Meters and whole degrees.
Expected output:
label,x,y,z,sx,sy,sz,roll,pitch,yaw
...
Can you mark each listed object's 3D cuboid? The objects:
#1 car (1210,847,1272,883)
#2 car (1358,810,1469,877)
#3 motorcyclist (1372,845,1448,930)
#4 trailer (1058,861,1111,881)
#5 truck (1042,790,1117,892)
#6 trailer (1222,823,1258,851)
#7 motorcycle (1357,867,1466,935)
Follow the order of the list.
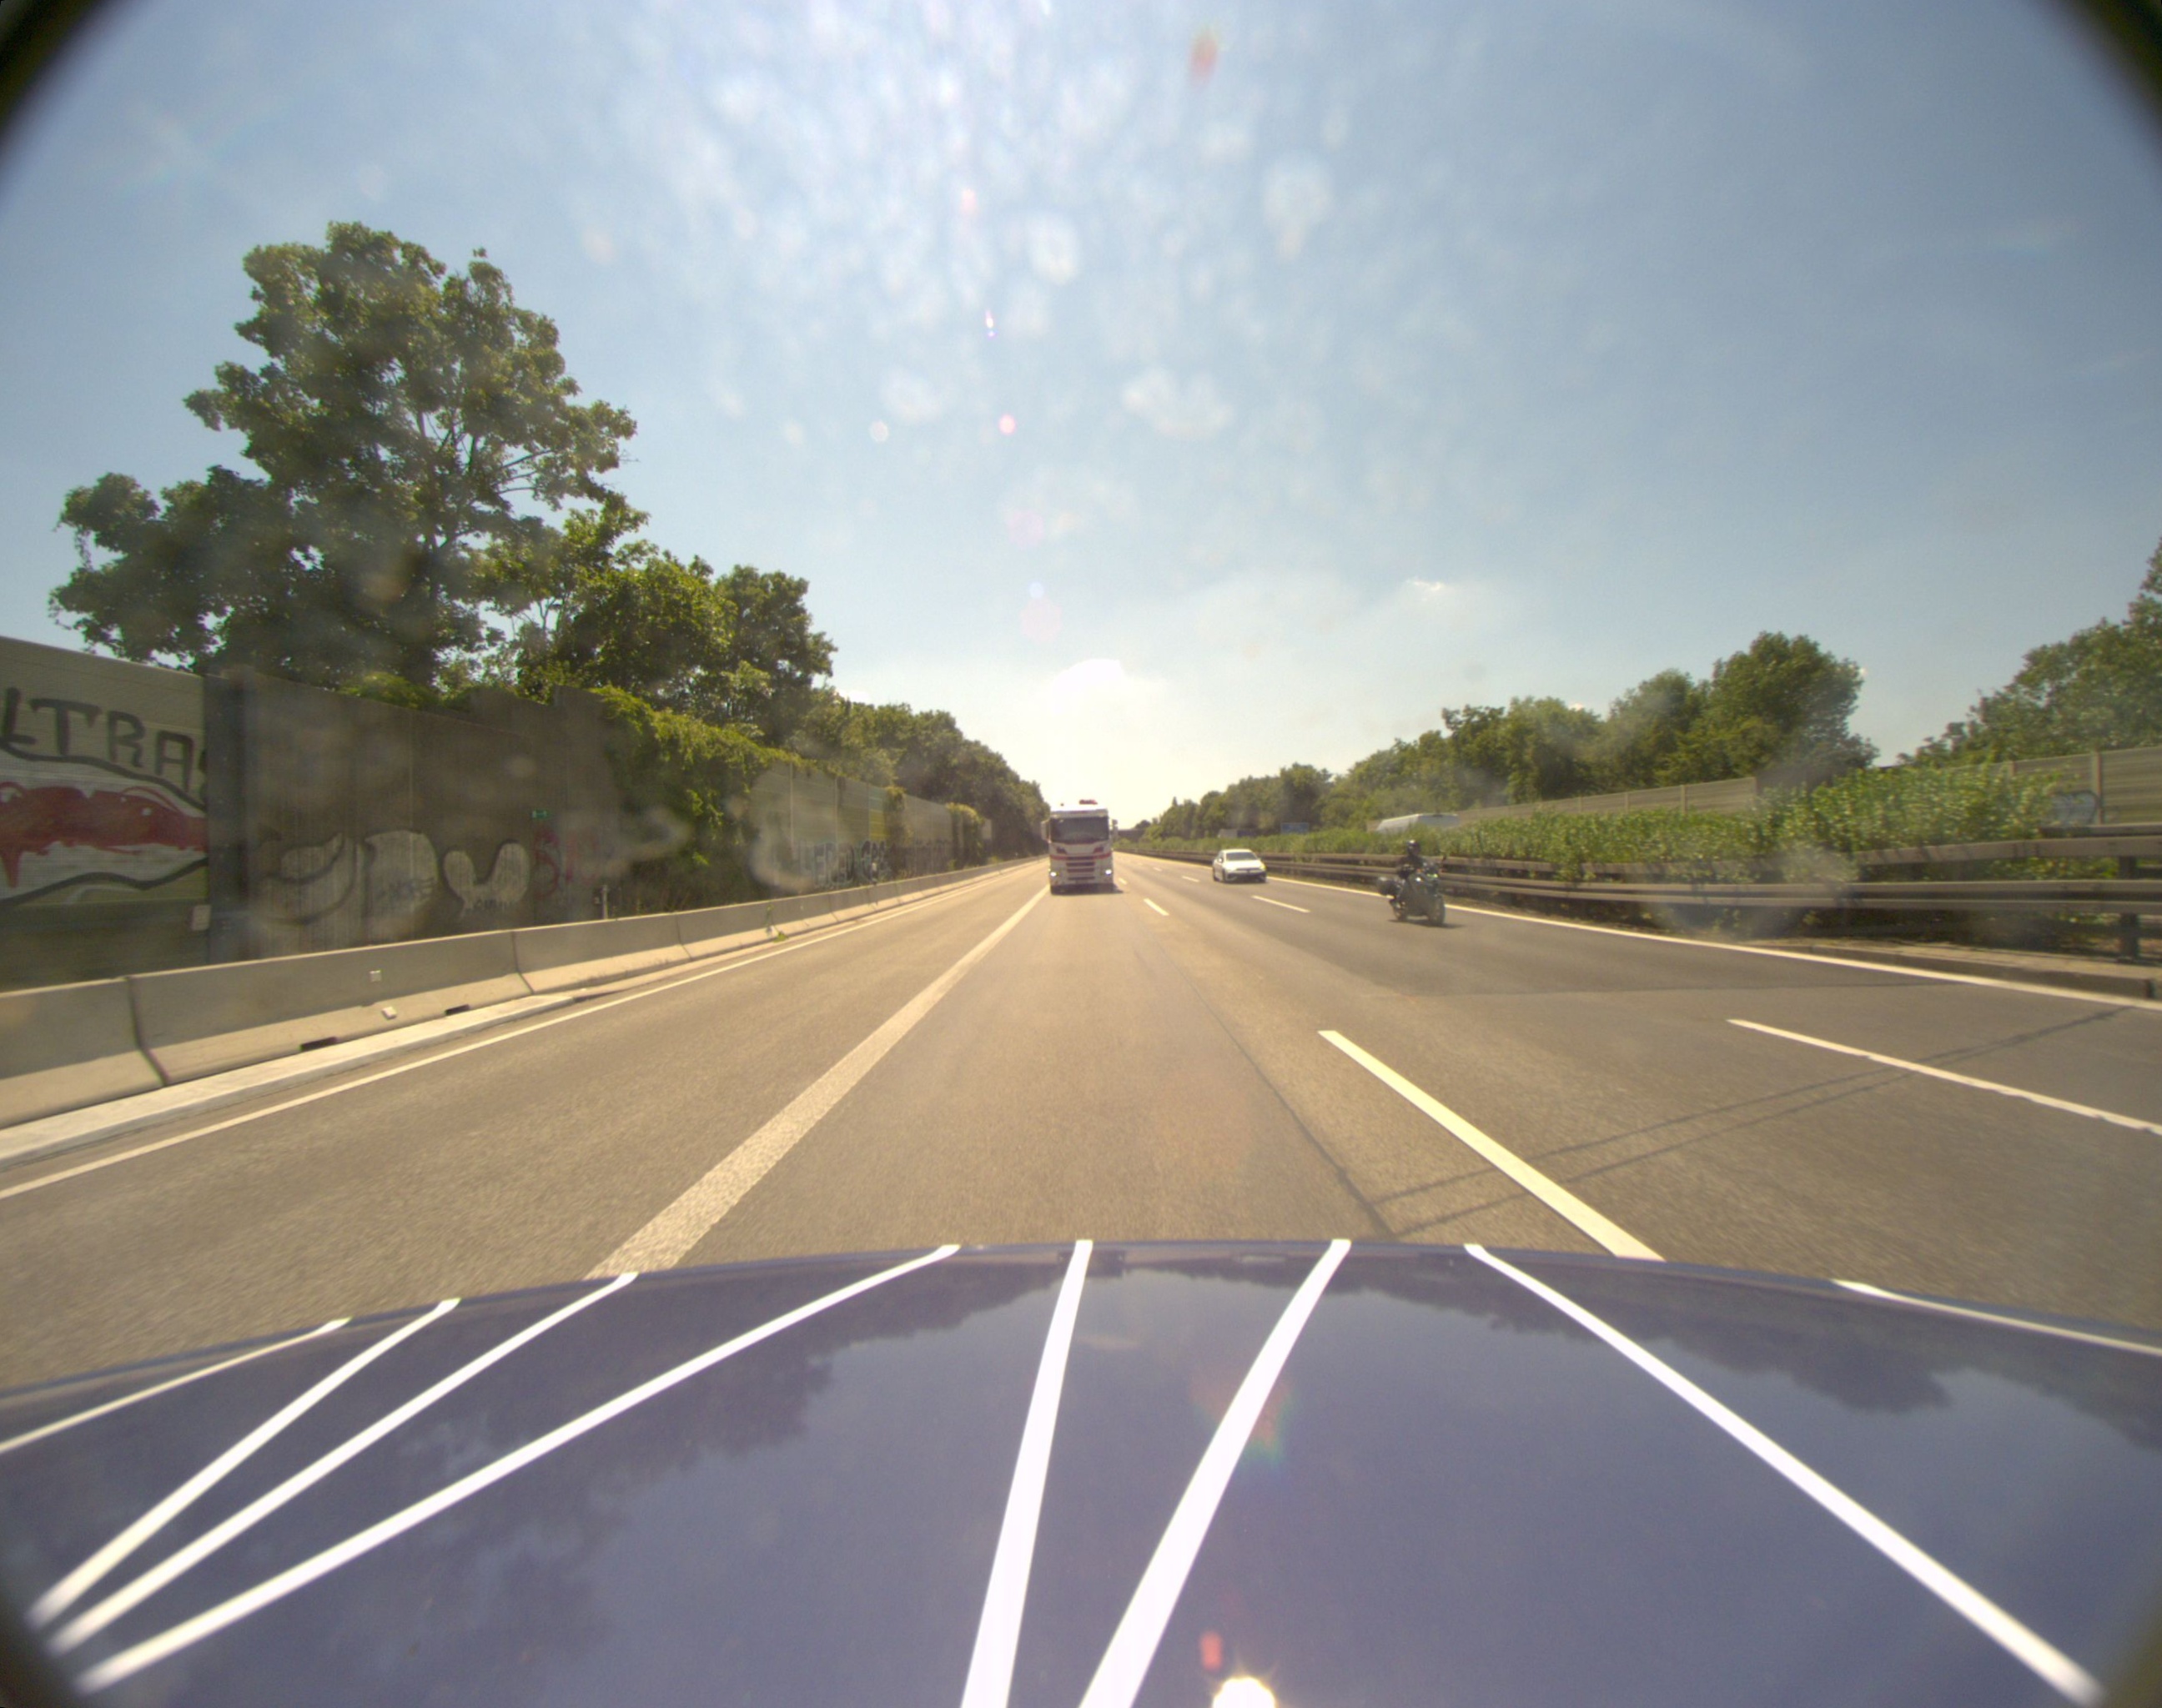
label,x,y,z,sx,sy,sz,roll,pitch,yaw
car,7.016,0.425,33.734,1.786,1.432,4.668,-1,1,0
car,14.981,-0.463,34.705,2.246,2.742,6.219,-1,1,-1
motorcyclist,6.507,0.636,15.097,0.895,1.588,1.299,-2,1,-1
trailer,0.226,0.920,43.658,2.721,0.929,7.760,-2,0,1
truck,0.030,-0.473,34.424,2.721,3.780,10.672,-2,0,1
trailer,23.317,-2.435,112.313,2.712,3.830,13.673,-1,1,2
motorcycle,6.513,0.876,15.204,0.915,1.082,2.849,-2,1,0
